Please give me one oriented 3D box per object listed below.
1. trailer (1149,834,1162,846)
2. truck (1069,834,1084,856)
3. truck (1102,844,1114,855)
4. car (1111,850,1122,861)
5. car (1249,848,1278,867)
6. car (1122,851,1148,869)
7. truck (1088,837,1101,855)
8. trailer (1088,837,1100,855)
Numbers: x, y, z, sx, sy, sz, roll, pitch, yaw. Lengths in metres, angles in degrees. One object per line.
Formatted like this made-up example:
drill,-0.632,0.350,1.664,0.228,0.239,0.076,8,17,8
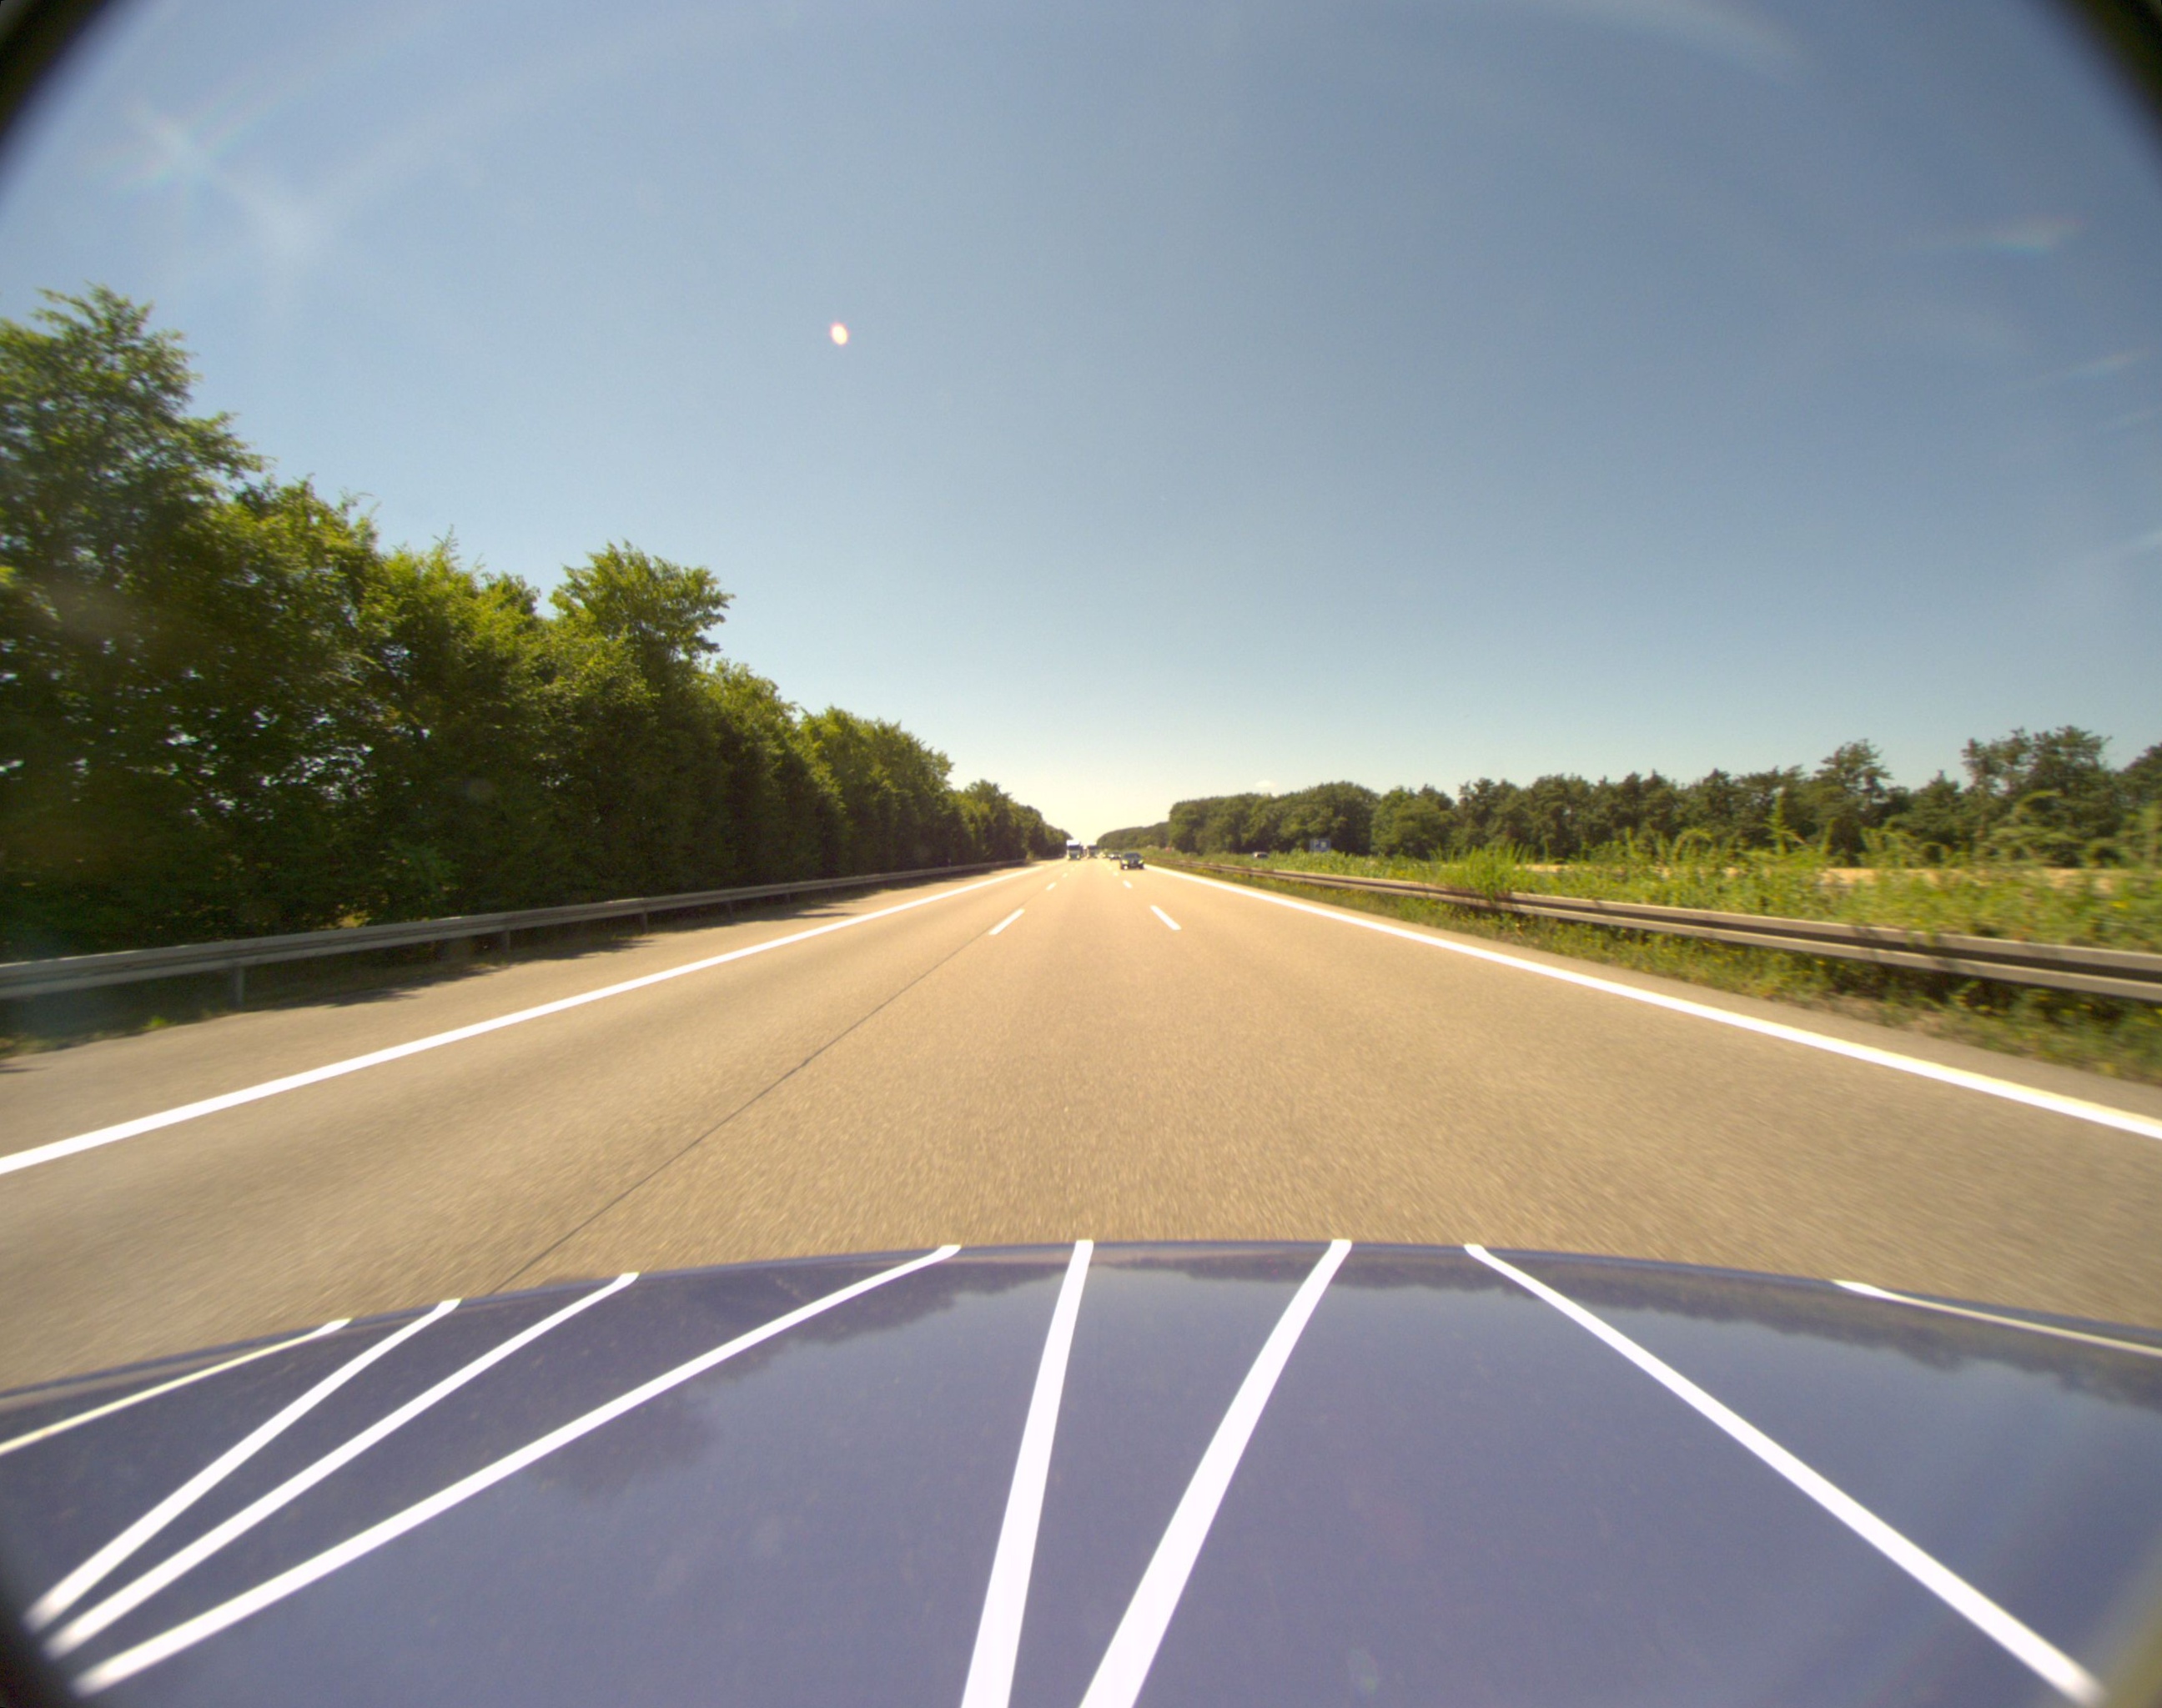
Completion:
trailer,25.445,-4.675,258.733,3.187,3.677,14.382,-2,0,1
truck,-0.905,-1.760,154.198,2.863,4.247,6.863,-2,1,0
truck,6.418,-0.982,180.614,2.576,2.461,5.614,-2,1,0
car,5.948,0.249,127.344,1.806,1.774,4.000,-1,1,1
car,17.881,0.312,74.534,1.852,1.768,4.430,0,1,1
car,4.464,0.523,63.365,1.811,1.399,4.001,-3,-1,0
truck,3.200,-1.982,184.217,2.863,4.247,5.411,-2,1,0
trailer,3.244,-2.028,190.575,2.863,4.247,11.470,-2,0,0
